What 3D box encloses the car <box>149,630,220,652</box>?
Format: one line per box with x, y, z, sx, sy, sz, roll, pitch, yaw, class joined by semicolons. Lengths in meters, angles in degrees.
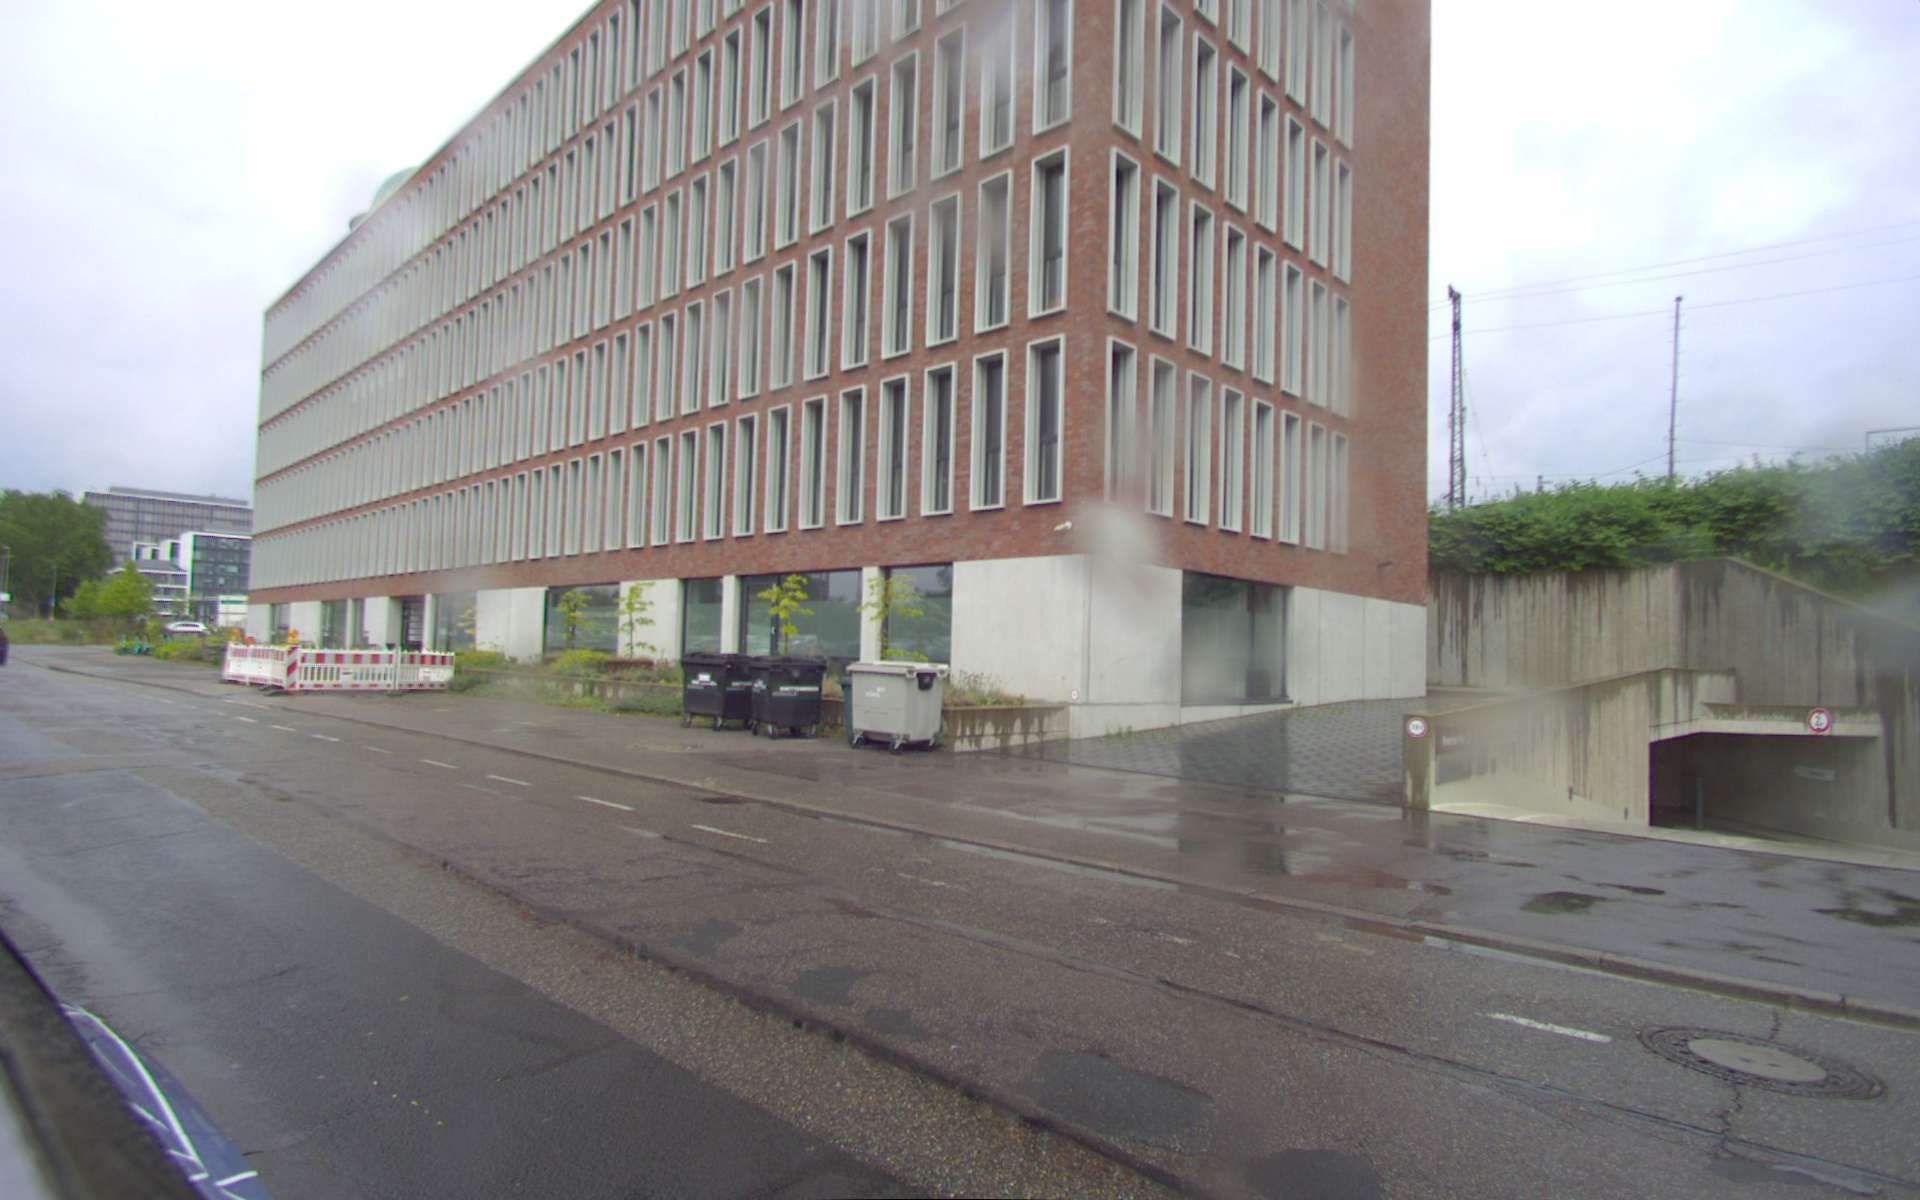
-66.976;3.553;87.461;1.998;1.653;4.477;0;-4;39;car

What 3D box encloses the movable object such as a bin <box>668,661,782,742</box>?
-4.144;1.757;17.877;1.445;1.318;1.284;-1;-4;35;movable object such as a bin

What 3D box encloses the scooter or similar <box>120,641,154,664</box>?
-45.344;2.893;55.770;1.299;1.239;0.509;3;-4;-10;scooter or similar

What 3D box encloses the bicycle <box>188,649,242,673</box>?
-34.869;2.847;47.401;0.620;1.085;1.928;-1;-2;40;bicycle

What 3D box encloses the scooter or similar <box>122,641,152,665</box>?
-44.087;2.843;54.225;1.308;1.239;0.465;1;-4;13;scooter or similar

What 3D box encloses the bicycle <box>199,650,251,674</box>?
-33.715;2.826;46.450;0.544;1.085;1.840;-1;-2;40;bicycle

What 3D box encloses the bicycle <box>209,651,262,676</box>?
-32.422;2.817;45.329;0.544;1.085;1.840;-1;-2;40;bicycle

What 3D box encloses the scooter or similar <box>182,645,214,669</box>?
-39.571;2.955;52.551;1.211;1.217;0.418;6;-5;-41;scooter or similar

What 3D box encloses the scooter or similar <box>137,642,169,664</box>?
-44.235;2.913;55.474;1.301;1.186;0.468;6;-5;-43;scooter or similar

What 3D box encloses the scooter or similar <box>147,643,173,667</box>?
-42.229;2.899;53.432;0.460;1.239;1.209;3;-4;-6;scooter or similar

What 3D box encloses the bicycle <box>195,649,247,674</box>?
-34.227;2.831;46.874;0.544;1.085;1.840;-1;-2;40;bicycle

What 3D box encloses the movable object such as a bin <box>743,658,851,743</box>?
-2.714;1.638;16.750;1.355;1.318;1.453;3;-4;-27;movable object such as a bin

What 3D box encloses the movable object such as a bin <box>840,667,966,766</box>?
-0.848;1.697;15.122;1.357;1.342;1.282;-1;-4;40;movable object such as a bin

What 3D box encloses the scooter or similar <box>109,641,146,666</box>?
-43.539;2.797;52.930;1.298;1.239;0.469;4;-4;-19;scooter or similar

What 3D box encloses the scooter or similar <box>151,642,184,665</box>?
-43.463;2.949;55.509;1.301;1.186;0.468;6;-5;-43;scooter or similar

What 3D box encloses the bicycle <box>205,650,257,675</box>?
-33.039;2.820;45.882;0.544;1.085;1.840;-1;-2;40;bicycle

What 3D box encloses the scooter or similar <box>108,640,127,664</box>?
-45.442;2.814;54.567;1.319;1.239;0.461;-1;-5;39;scooter or similar

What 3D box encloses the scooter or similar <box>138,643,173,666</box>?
-42.990;2.906;54.113;0.465;1.186;1.307;0;-4;29;scooter or similar

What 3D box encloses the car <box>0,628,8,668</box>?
-39.435;1.813;39.971;4.140;1.581;1.744;-1;-6;35;car
